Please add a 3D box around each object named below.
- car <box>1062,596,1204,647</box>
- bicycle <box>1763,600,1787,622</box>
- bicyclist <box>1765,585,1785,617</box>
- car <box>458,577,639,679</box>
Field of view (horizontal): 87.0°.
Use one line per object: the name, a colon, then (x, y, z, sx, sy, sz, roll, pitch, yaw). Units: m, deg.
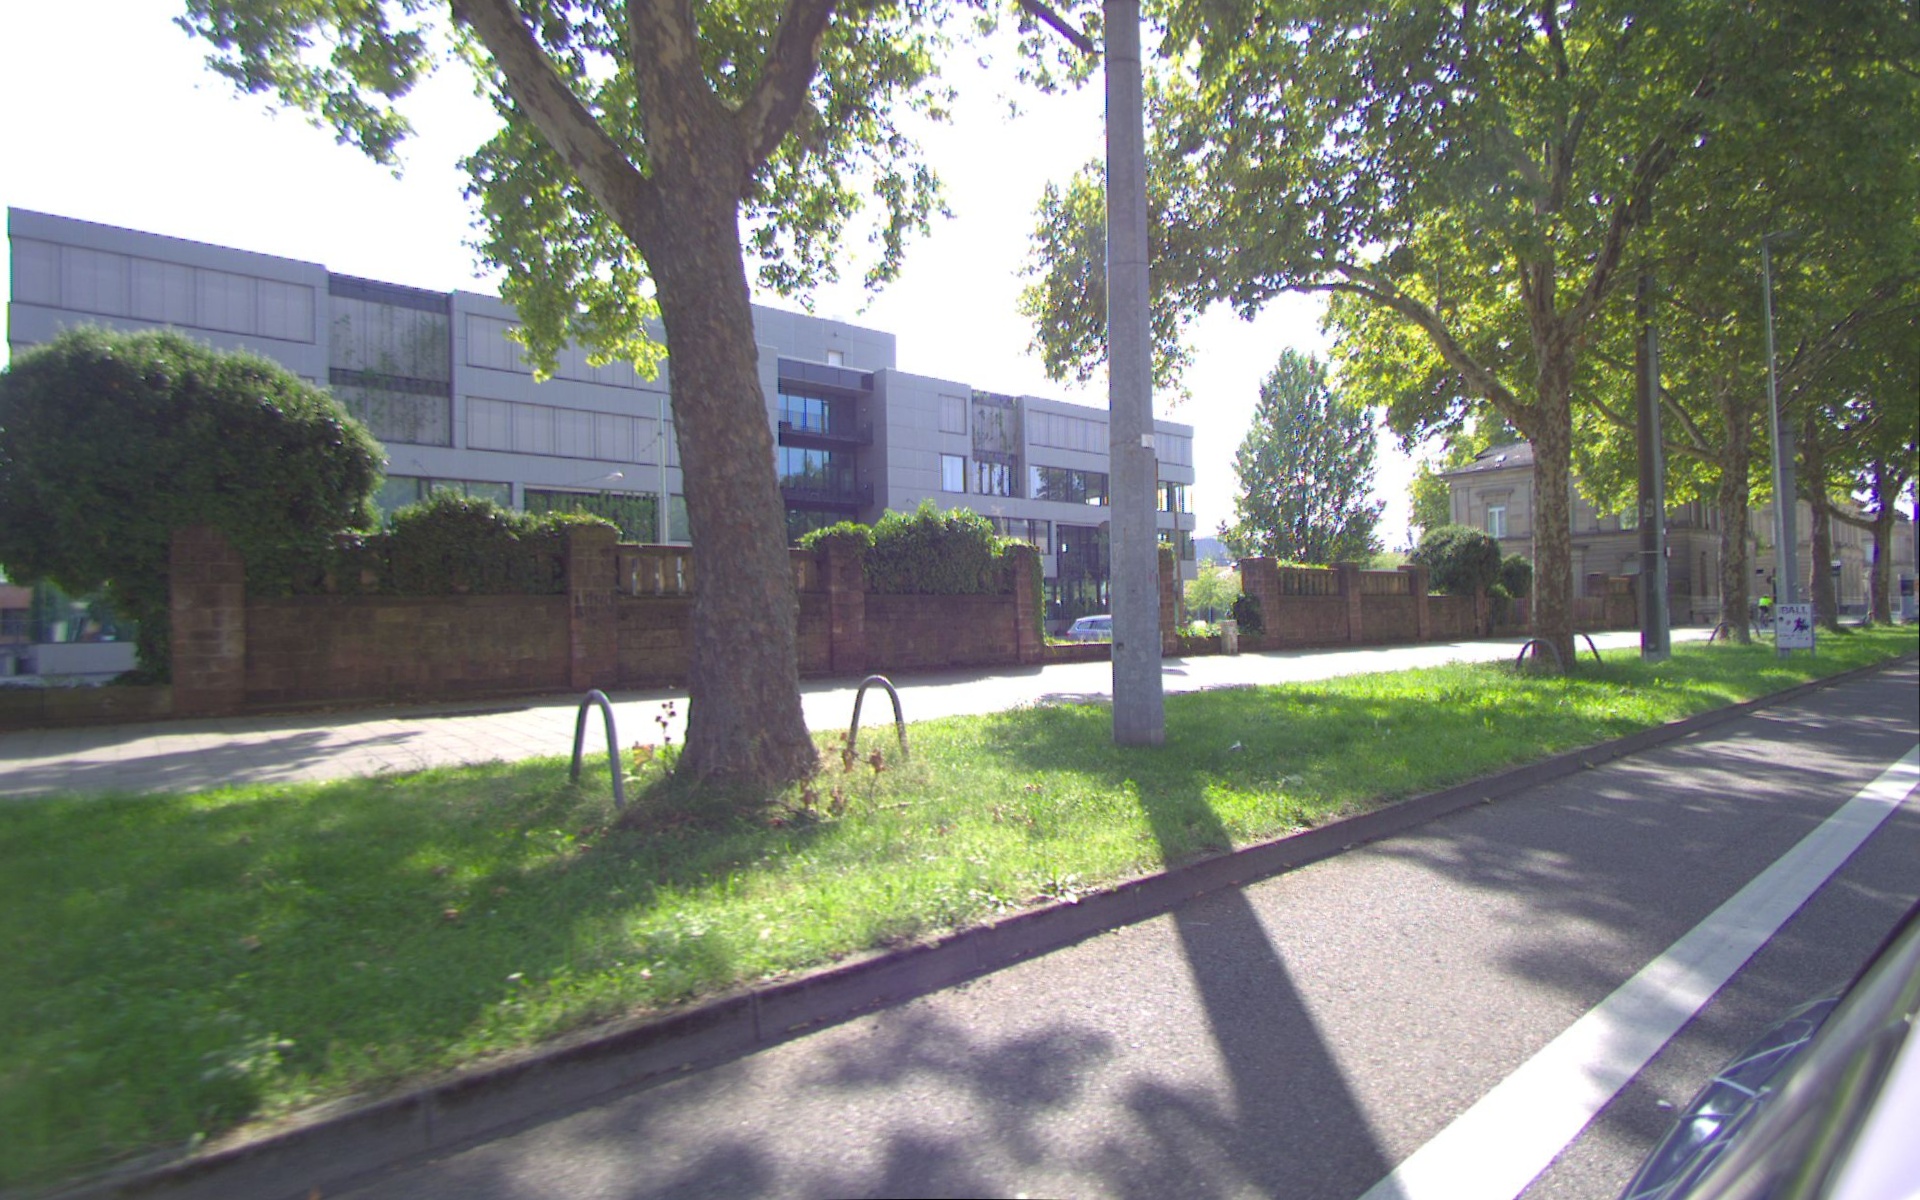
car: (5.403, 0.697, 31.933, 1.967, 1.436, 3.989, -2, -1, -43)
bicycle: (38.000, 0.510, 47.165, 1.683, 1.020, 0.549, 0, -1, -41)
bicyclist: (37.998, 0.062, 47.184, 0.827, 1.472, 0.549, 0, -2, -40)
car: (-8.168, 0.513, 19.852, 1.877, 1.756, 4.527, 0, -1, -42)
